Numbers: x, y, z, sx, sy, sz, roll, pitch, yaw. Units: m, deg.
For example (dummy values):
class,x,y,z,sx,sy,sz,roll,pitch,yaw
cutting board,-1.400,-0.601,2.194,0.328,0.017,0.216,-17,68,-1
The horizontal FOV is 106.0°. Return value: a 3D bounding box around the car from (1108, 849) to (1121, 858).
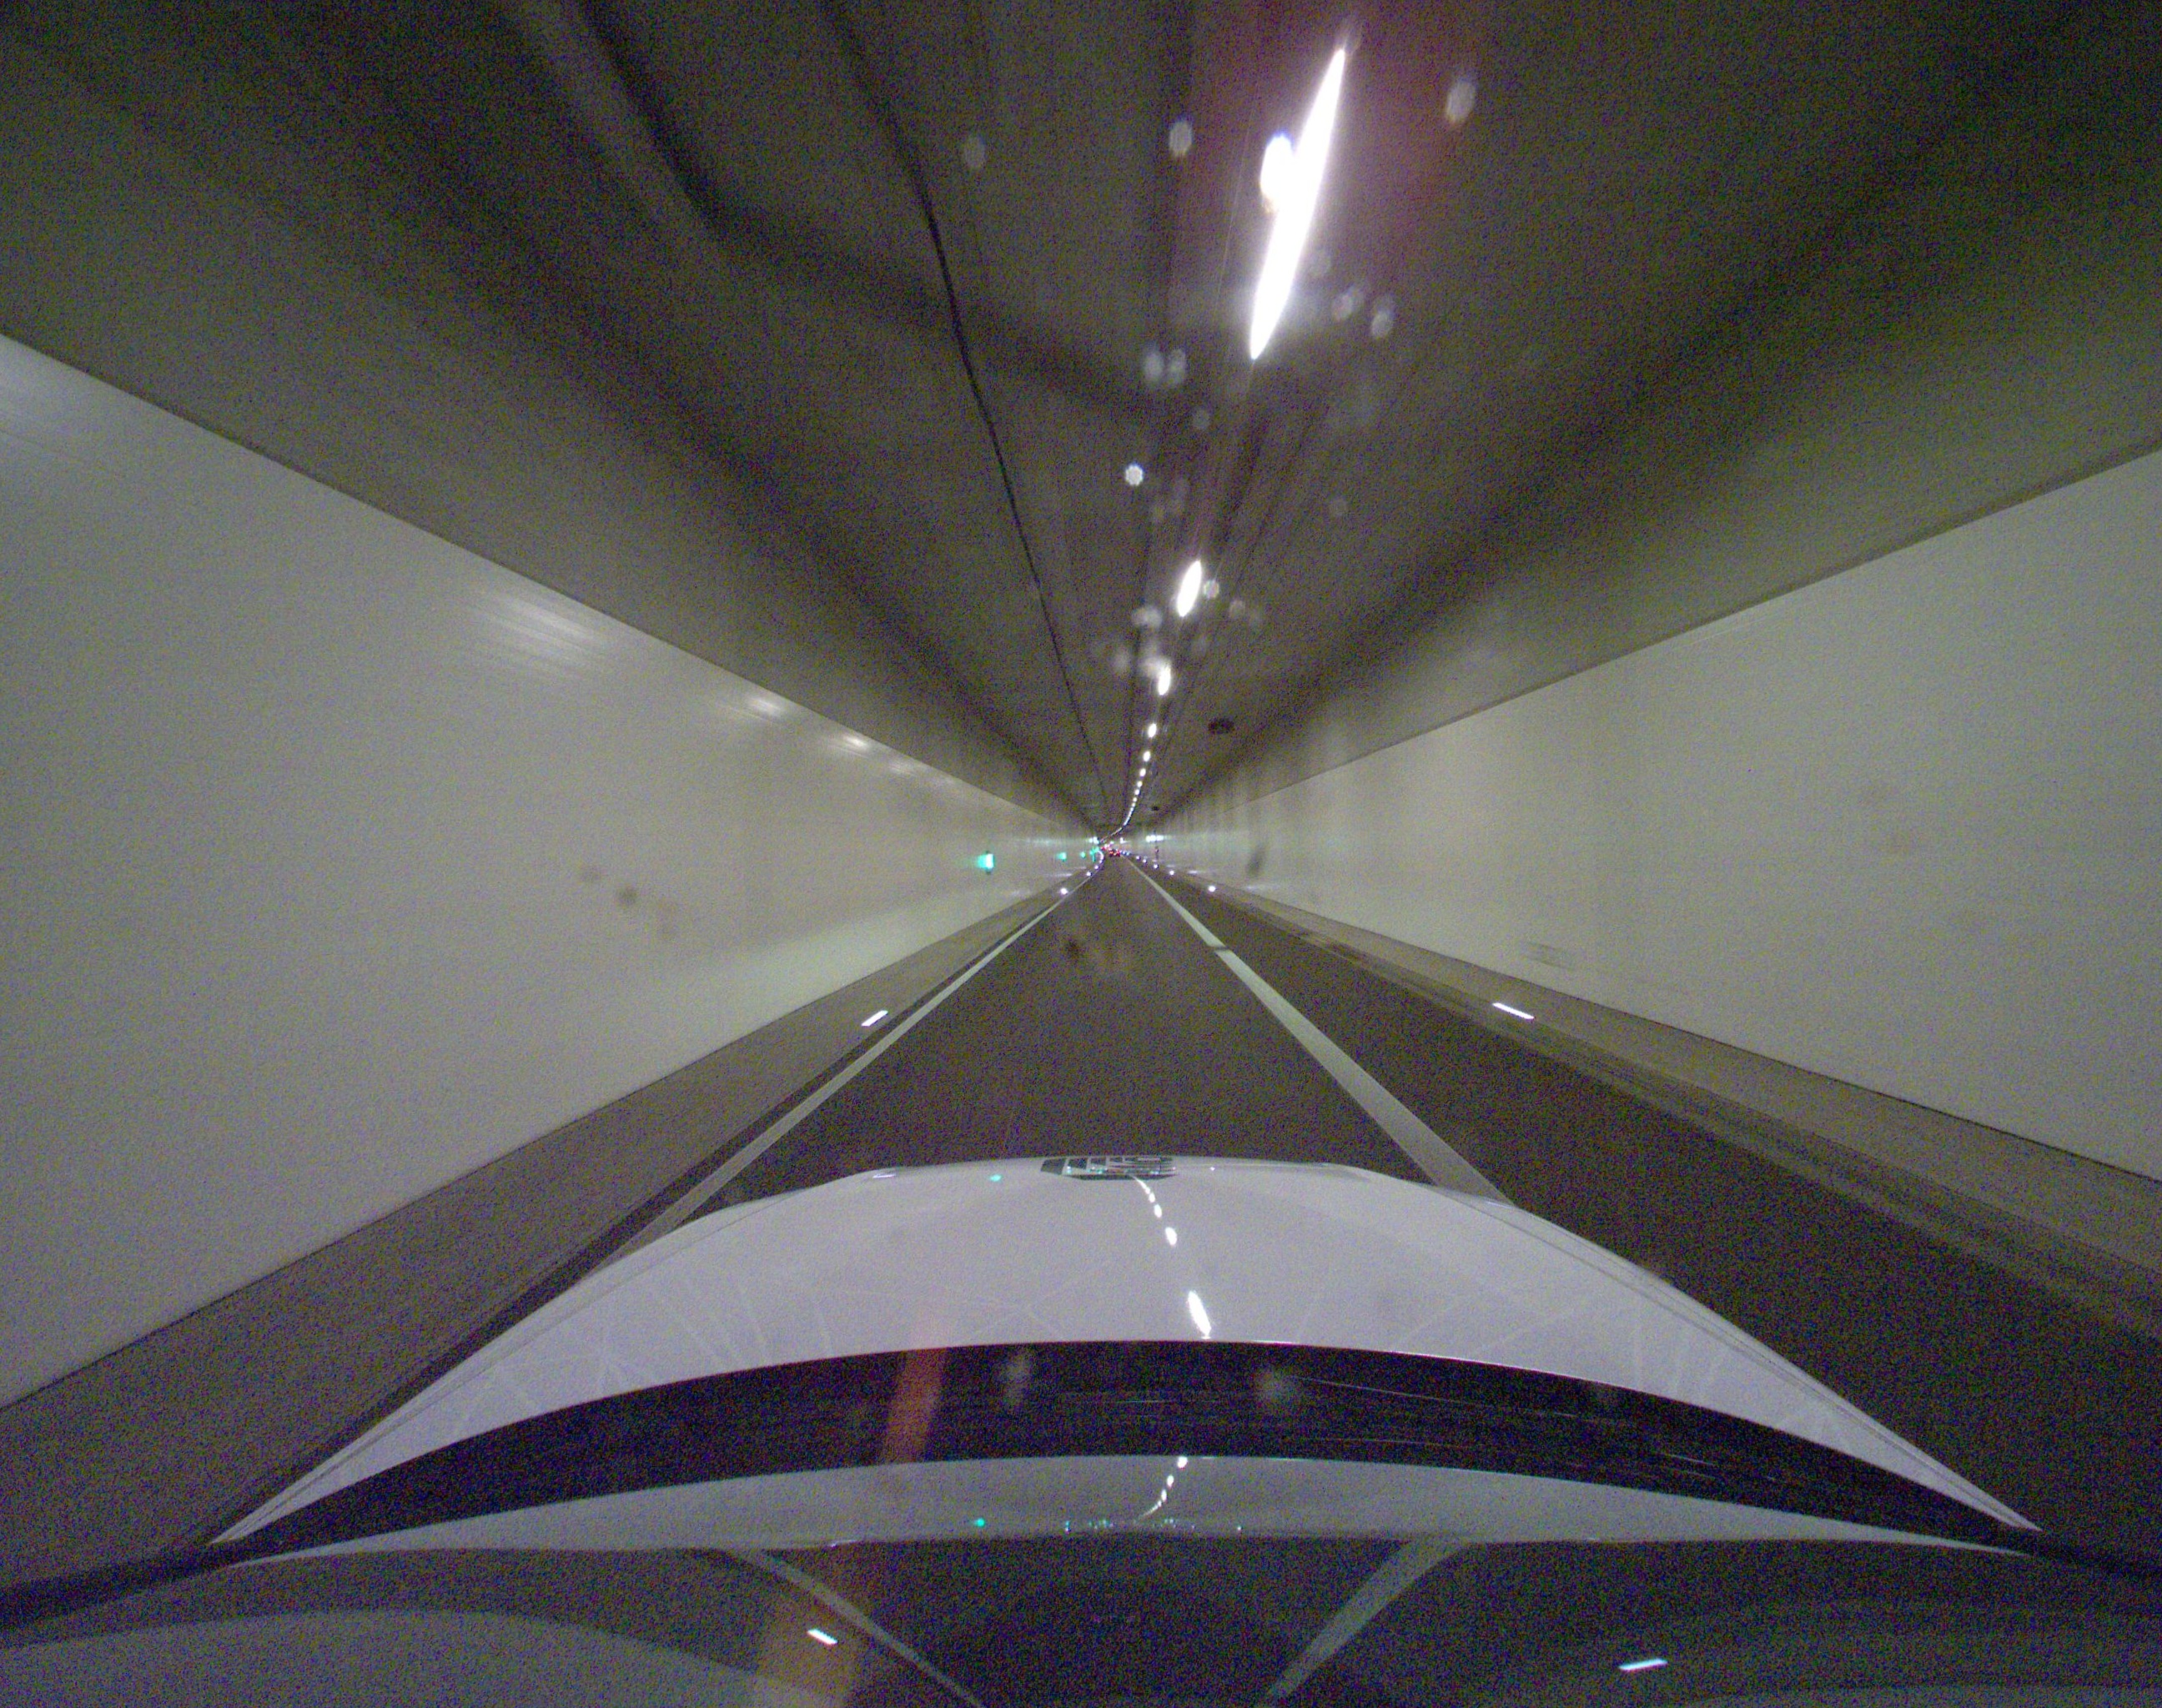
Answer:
class,x,y,z,sx,sy,sz,roll,pitch,yaw
car,5.926,-0.143,143.776,1.987,1.420,4.000,3,0,0
